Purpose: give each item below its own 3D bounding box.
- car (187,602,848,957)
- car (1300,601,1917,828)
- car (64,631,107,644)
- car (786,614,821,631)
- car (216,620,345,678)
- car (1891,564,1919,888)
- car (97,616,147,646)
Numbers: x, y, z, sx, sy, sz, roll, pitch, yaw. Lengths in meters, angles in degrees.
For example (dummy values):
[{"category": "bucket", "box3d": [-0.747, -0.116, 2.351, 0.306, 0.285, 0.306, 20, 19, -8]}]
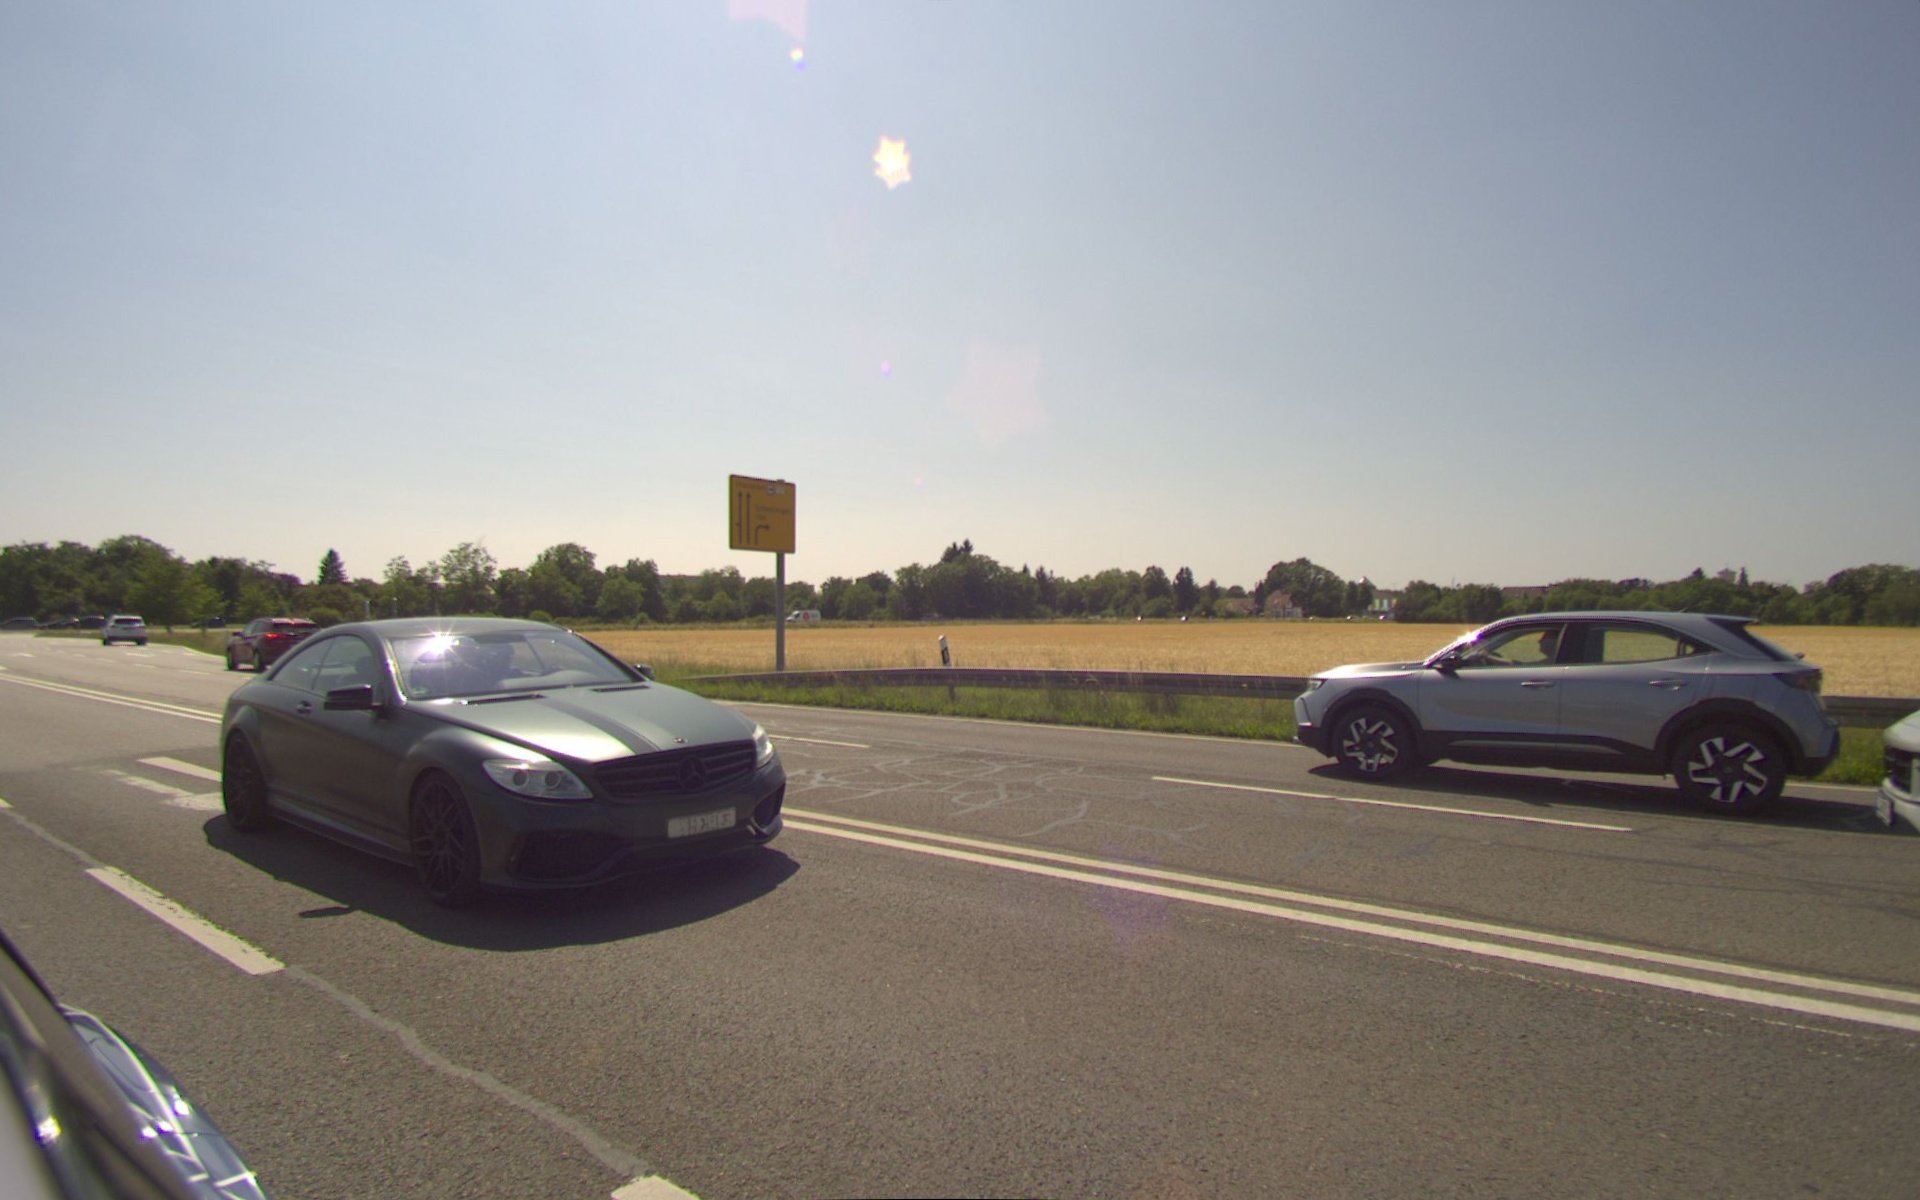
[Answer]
[{"category": "car", "box3d": [-3.096, 0.793, 6.479, 4.870, 1.461, 1.794, -1, 0, 38]}, {"category": "car", "box3d": [5.301, 0.845, 8.773, 4.120, 1.519, 1.802, -2, -3, 37]}, {"category": "car", "box3d": [-103.072, 4.376, 119.319, 3.821, 1.397, 1.637, 0, -2, -42]}, {"category": "car", "box3d": [-28.625, 4.049, 184.780, 6.287, 2.931, 2.002, -2, 1, -44]}, {"category": "car", "box3d": [-20.301, 1.414, 30.170, 4.306, 1.574, 1.974, 0, -2, 39]}, {"category": "car", "box3d": [6.641, 0.594, 3.480, 4.868, 1.599, 1.822, -1, -4, 38]}, {"category": "car", "box3d": [-48.698, 1.819, 58.790, 4.463, 1.689, 1.646, -2, -3, 43]}]
